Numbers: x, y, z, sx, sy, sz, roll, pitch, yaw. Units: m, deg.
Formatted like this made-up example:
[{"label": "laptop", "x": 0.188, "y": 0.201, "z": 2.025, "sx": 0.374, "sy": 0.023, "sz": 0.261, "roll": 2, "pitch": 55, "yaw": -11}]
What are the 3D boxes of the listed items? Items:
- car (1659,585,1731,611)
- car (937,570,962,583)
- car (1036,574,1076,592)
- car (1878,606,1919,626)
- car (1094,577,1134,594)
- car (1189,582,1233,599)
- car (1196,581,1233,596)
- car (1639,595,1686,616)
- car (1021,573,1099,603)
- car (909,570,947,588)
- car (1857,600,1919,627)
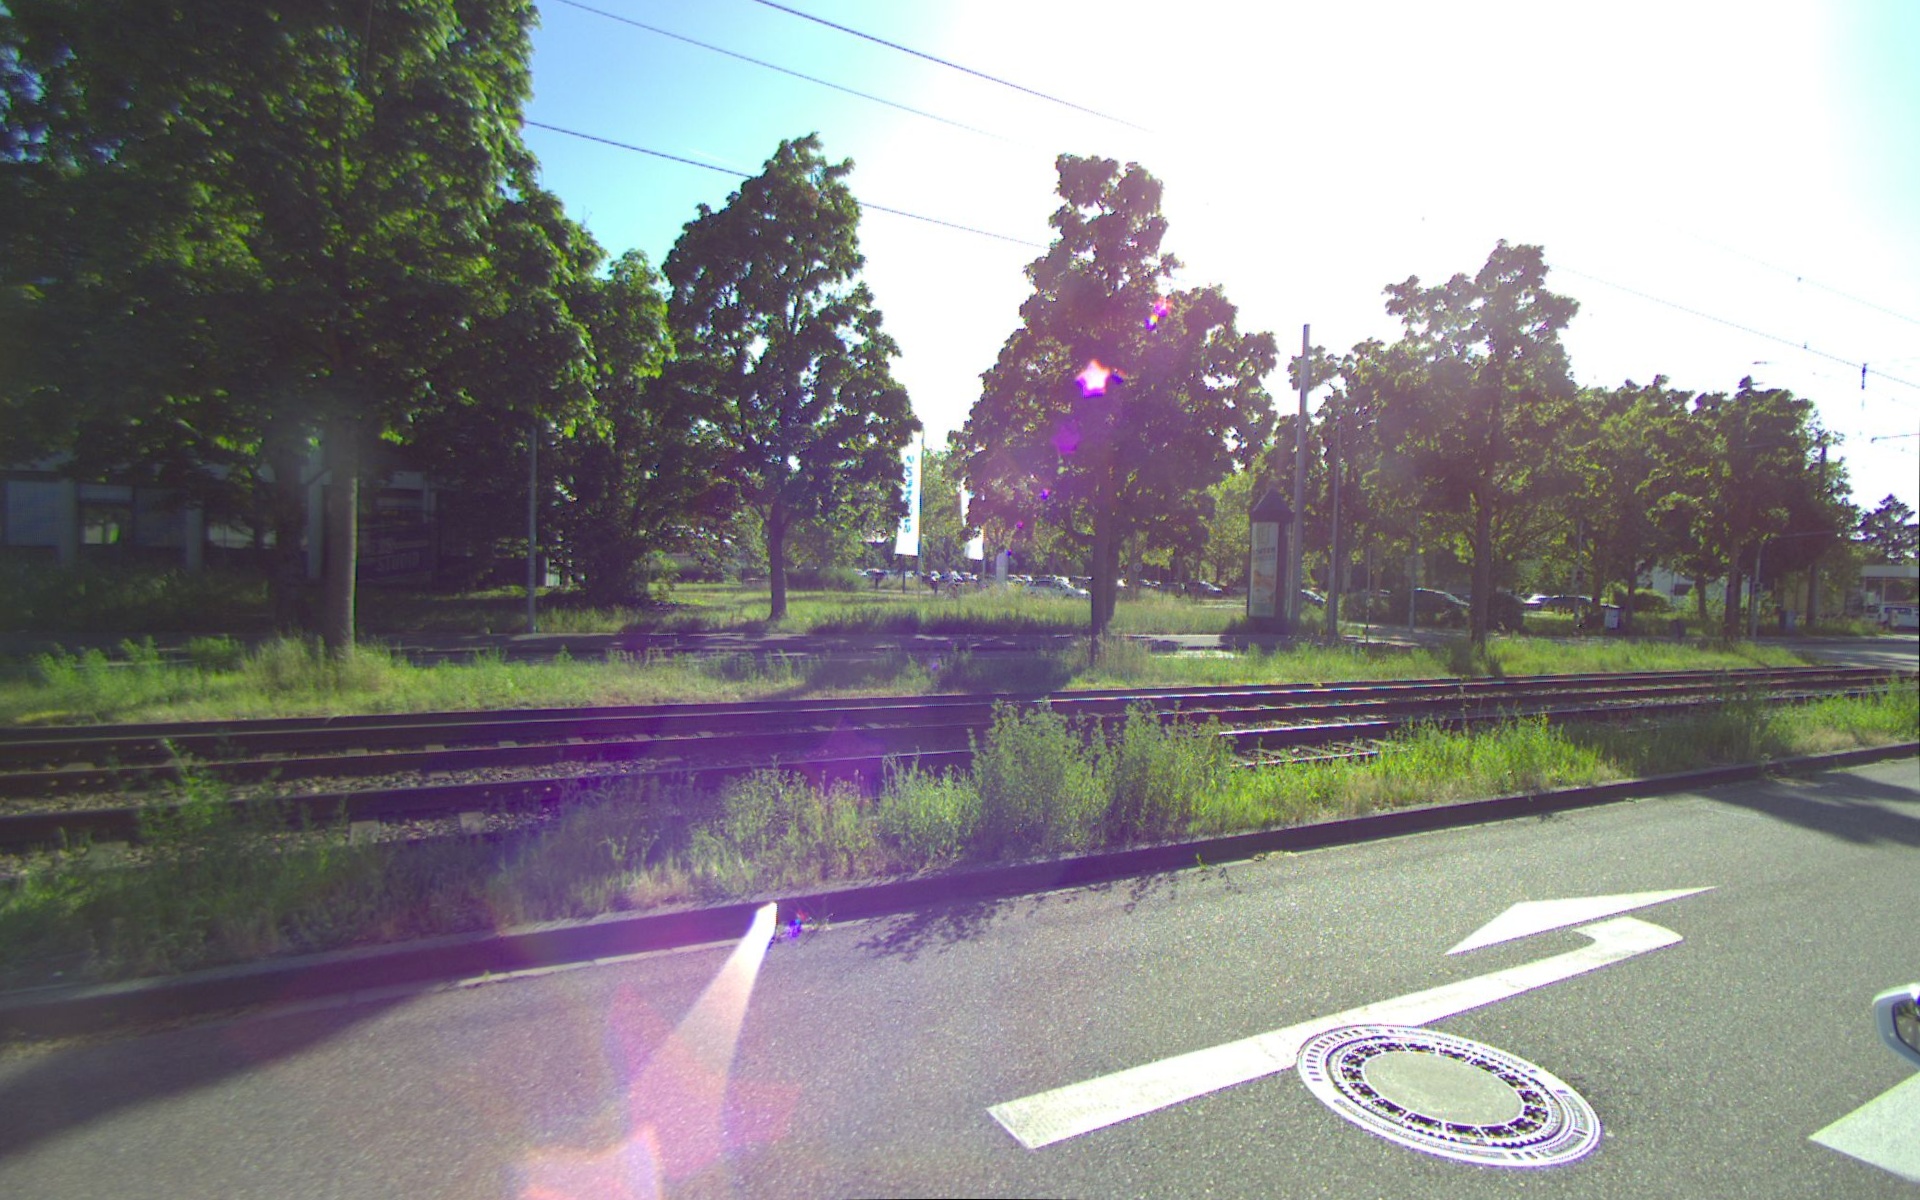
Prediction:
[{"label": "car", "x": 64.925, "y": -0.186, "z": 88.742, "sx": 1.998, "sy": 2.119, "sz": 4.695, "roll": 1, "pitch": 2, "yaw": -32}, {"label": "car", "x": -1.393, "y": -3.122, "z": 134.188, "sx": 1.806, "sy": 1.627, "sz": 3.975, "roll": 1, "pitch": 2, "yaw": -25}, {"label": "car", "x": 9.848, "y": -1.779, "z": 103.510, "sx": 1.815, "sy": 1.690, "sz": 3.955, "roll": 1, "pitch": 2, "yaw": -38}, {"label": "car", "x": 78.918, "y": 1.378, "z": 82.904, "sx": 4.380, "sy": 1.548, "sz": 1.793, "roll": 2, "pitch": 1, "yaw": 7}, {"label": "car", "x": 16.405, "y": -1.572, "z": 107.031, "sx": 1.815, "sy": 1.690, "sz": 3.955, "roll": 1, "pitch": 2, "yaw": -38}, {"label": "car", "x": 24.798, "y": -0.980, "z": 99.305, "sx": 1.729, "sy": 1.468, "sz": 3.938, "roll": 1, "pitch": 2, "yaw": -35}, {"label": "car", "x": 29.167, "y": -1.333, "z": 115.163, "sx": 1.829, "sy": 1.451, "sz": 3.938, "roll": 1, "pitch": 2, "yaw": -35}, {"label": "car", "x": 58.715, "y": 0.470, "z": 83.950, "sx": 4.038, "sy": 1.565, "sz": 1.571, "roll": 1, "pitch": 2, "yaw": -28}, {"label": "car", "x": 6.112, "y": -0.747, "z": 61.442, "sx": 4.361, "sy": 1.662, "sz": 1.982, "roll": 3, "pitch": 2, "yaw": 38}, {"label": "car", "x": -3.237, "y": -2.161, "z": 101.052, "sx": 1.815, "sy": 1.627, "sz": 3.955, "roll": 1, "pitch": 2, "yaw": -38}, {"label": "car", "x": 75.154, "y": 1.112, "z": 80.451, "sx": 4.689, "sy": 2.000, "sz": 1.861, "roll": 2, "pitch": 1, "yaw": 7}]
